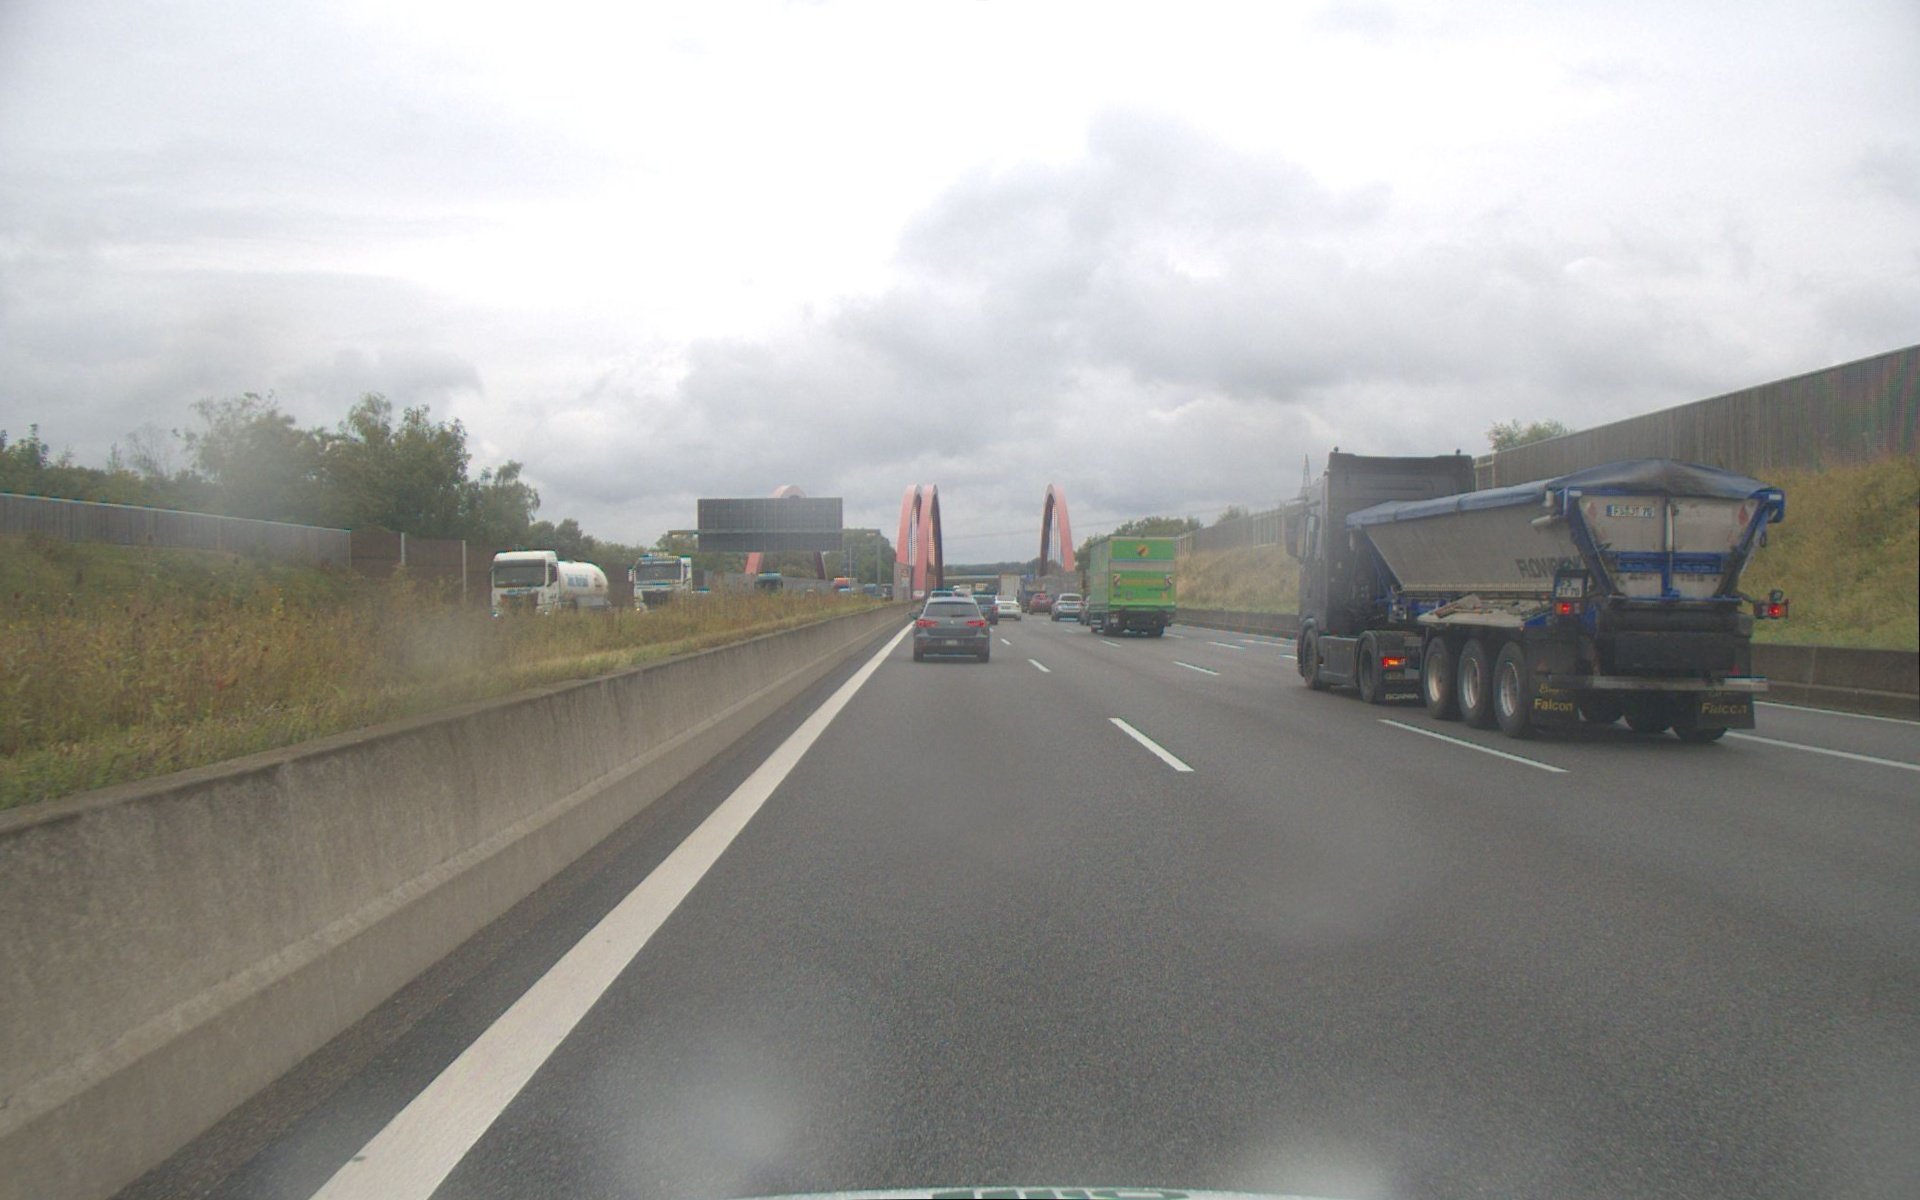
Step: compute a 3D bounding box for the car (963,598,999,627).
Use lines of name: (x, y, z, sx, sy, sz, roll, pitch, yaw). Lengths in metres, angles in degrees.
car: (1.040, 0.615, 83.263, 1.745, 1.431, 3.626, 1, 0, -1)

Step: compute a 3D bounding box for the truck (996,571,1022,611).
truck: (6.046, -1.157, 206.206, 2.982, 4.817, 7.680, 1, 0, 0)

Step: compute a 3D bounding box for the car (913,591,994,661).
car: (-0.132, 0.545, 37.548, 1.727, 1.478, 4.000, 1, 0, 0)

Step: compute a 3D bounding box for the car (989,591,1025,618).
car: (2.737, 0.243, 97.790, 1.953, 1.512, 3.999, 1, 0, -1)

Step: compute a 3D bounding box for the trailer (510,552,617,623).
trailer: (-18.153, -0.579, 76.419, 2.558, 3.041, 10.794, 1, 0, -2)

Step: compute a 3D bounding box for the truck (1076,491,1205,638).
truck: (7.064, -1.316, 66.762, 3.916, 5.358, 11.219, 1, 0, 0)

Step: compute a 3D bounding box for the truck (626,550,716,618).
truck: (-14.201, -0.774, 81.924, 2.895, 3.120, 8.726, 1, 0, -1)

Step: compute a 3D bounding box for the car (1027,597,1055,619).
car: (6.393, 0.601, 130.590, 1.917, 1.676, 3.999, 1, 0, -1)

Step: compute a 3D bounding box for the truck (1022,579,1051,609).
truck: (6.701, -0.574, 145.774, 2.313, 2.550, 6.144, 1, 0, 0)

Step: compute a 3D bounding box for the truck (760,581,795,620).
truck: (-18.809, 0.066, 171.200, 2.804, 3.905, 7.521, 1, 0, -1)

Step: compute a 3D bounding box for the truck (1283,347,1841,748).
truck: (7.339, -0.554, 23.069, 2.756, 4.019, 12.709, -1, 0, -2)

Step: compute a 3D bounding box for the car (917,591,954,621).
car: (-1.352, 0.301, 91.076, 1.953, 1.612, 3.999, 0, 0, -1)

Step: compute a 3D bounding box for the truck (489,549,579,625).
truck: (-17.980, -0.539, 70.190, 2.569, 3.072, 5.609, 1, 0, -3)

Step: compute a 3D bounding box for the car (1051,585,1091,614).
car: (6.683, -0.041, 100.253, 1.953, 1.647, 5.327, 1, 0, -1)
